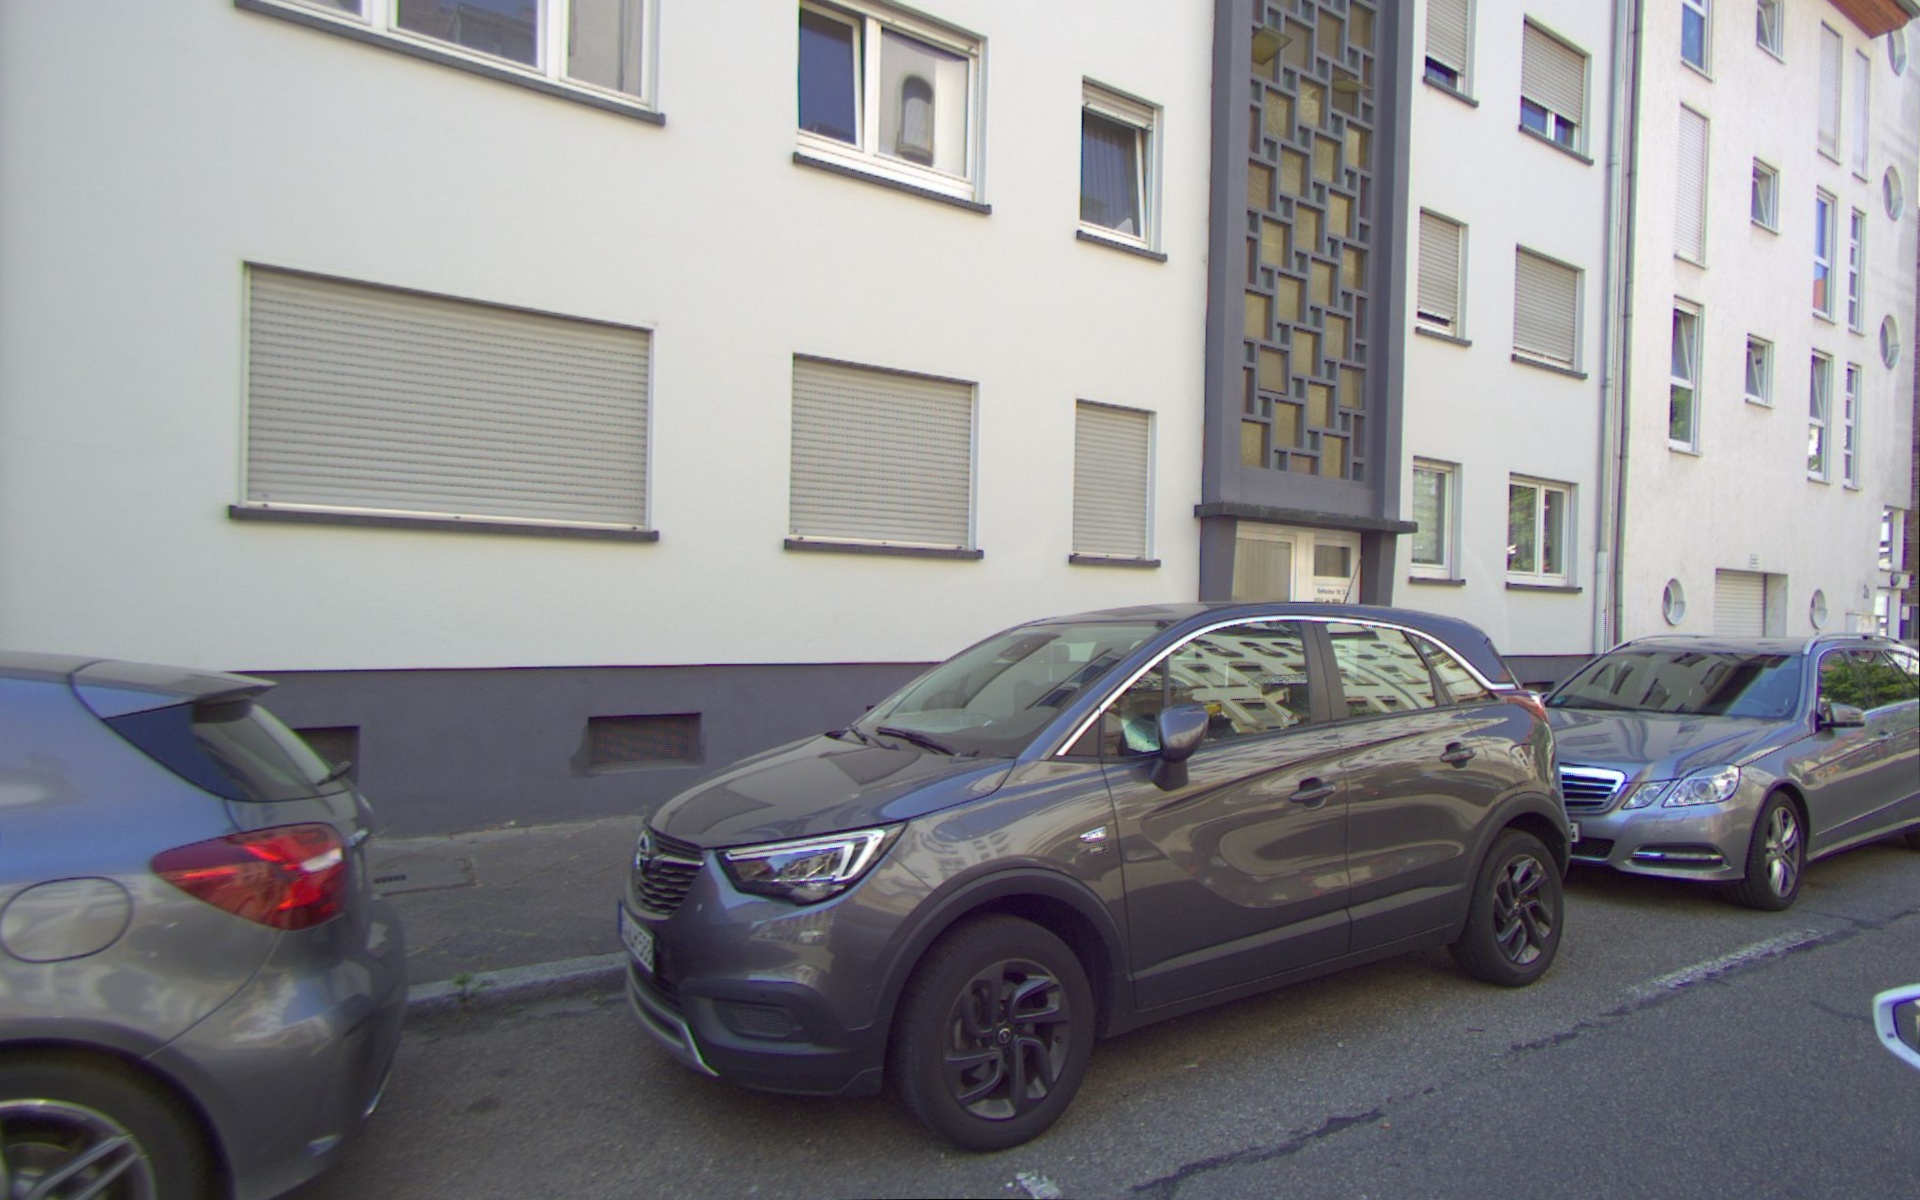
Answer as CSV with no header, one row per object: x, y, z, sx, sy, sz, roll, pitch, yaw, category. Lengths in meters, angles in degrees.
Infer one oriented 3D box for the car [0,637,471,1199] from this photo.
-3.387,0.766,1.866,4.300,1.411,1.756,2,-3,-32,car

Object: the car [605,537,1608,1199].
0.780,0.762,4.075,3.933,1.665,1.595,2,-2,-32,car

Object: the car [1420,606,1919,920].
5.290,0.890,6.877,4.619,1.538,1.648,2,-3,-32,car

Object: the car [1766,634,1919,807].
9.850,1.120,10.091,3.851,1.511,1.559,2,-3,-32,car
